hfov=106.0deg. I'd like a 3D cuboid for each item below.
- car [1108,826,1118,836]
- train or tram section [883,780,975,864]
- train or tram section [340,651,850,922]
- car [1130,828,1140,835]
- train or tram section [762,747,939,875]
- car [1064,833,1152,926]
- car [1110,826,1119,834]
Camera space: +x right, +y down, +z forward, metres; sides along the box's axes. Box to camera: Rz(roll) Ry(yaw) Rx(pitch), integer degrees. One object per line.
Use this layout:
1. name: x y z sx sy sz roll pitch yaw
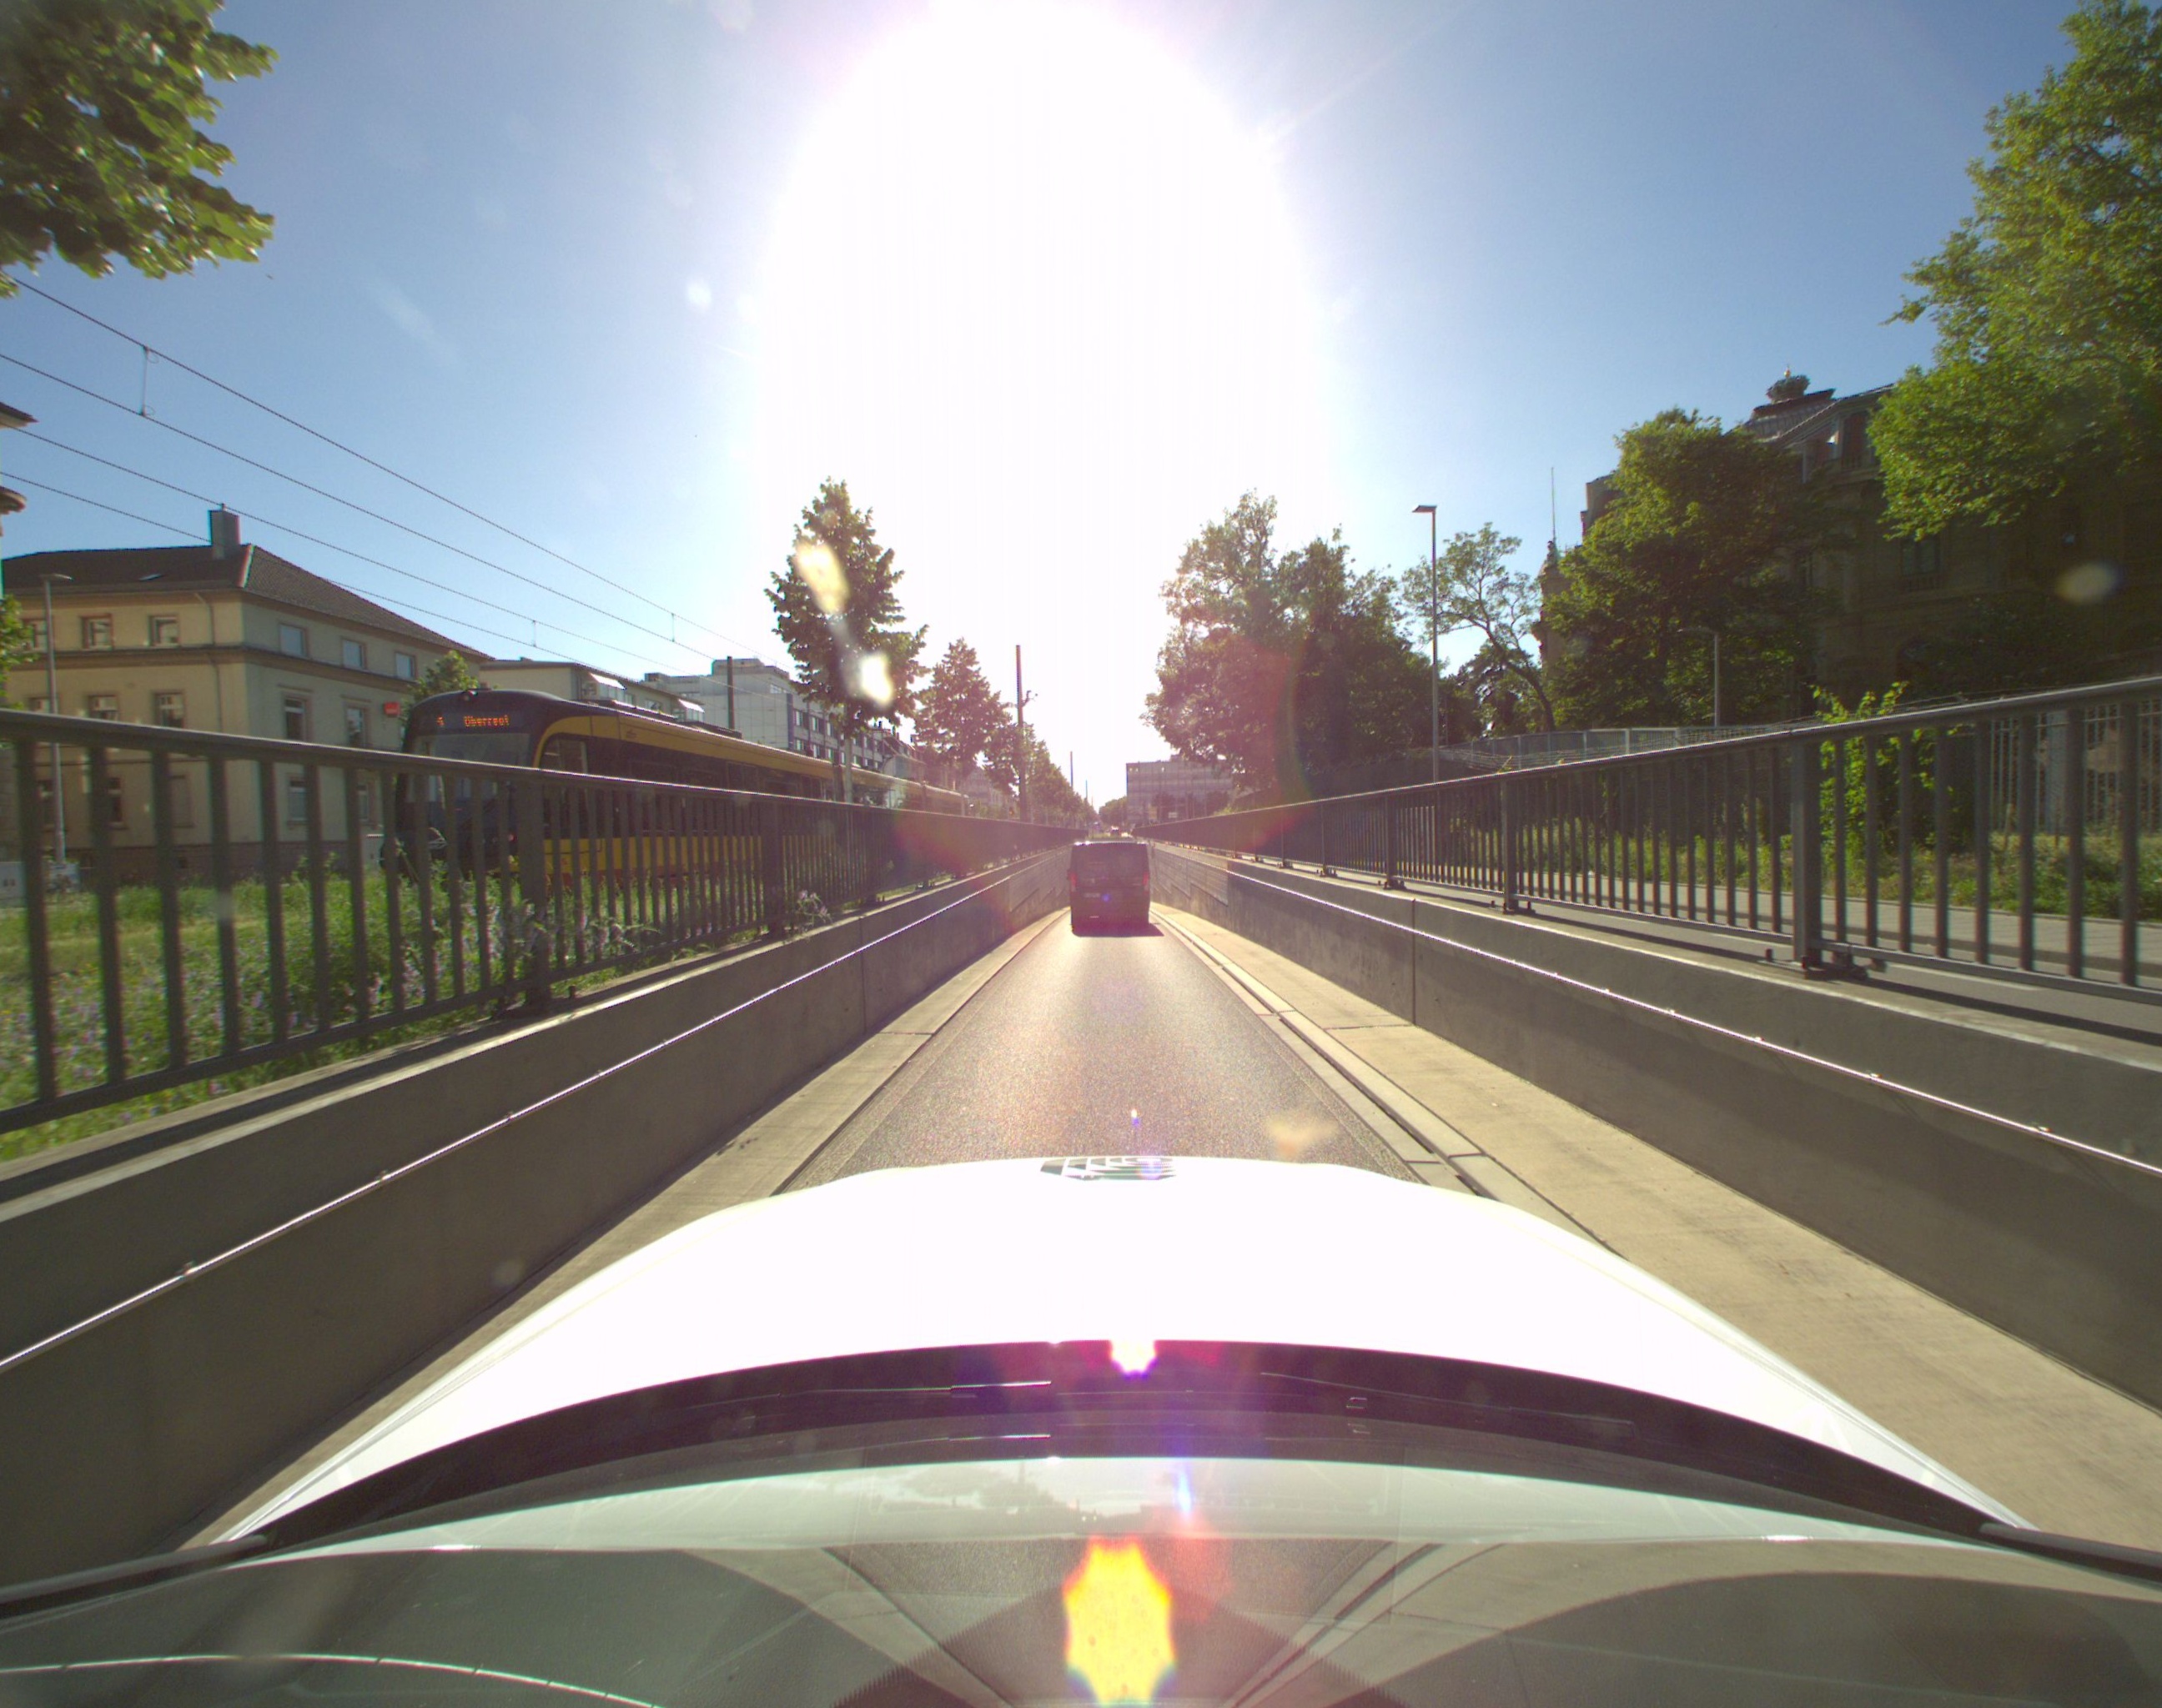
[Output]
1. car: 5.491 -3.915 140.048 1.734 1.562 4.001 -1 1 1
2. train or tram section: -7.642 -1.559 42.413 2.602 3.854 9.976 0 1 2
3. train or tram section: -8.483 -1.035 17.721 2.600 3.655 13.351 0 1 2
4. car: 11.345 -4.770 171.536 1.734 1.421 4.001 -1 1 1
5. train or tram section: -8.023 -1.391 30.885 2.601 3.820 13.097 0 1 2
6. car: 0.781 0.689 22.508 2.150 2.266 4.639 -1 -2 3
7. car: 6.896 -4.890 168.027 1.734 1.562 4.001 -1 1 1
